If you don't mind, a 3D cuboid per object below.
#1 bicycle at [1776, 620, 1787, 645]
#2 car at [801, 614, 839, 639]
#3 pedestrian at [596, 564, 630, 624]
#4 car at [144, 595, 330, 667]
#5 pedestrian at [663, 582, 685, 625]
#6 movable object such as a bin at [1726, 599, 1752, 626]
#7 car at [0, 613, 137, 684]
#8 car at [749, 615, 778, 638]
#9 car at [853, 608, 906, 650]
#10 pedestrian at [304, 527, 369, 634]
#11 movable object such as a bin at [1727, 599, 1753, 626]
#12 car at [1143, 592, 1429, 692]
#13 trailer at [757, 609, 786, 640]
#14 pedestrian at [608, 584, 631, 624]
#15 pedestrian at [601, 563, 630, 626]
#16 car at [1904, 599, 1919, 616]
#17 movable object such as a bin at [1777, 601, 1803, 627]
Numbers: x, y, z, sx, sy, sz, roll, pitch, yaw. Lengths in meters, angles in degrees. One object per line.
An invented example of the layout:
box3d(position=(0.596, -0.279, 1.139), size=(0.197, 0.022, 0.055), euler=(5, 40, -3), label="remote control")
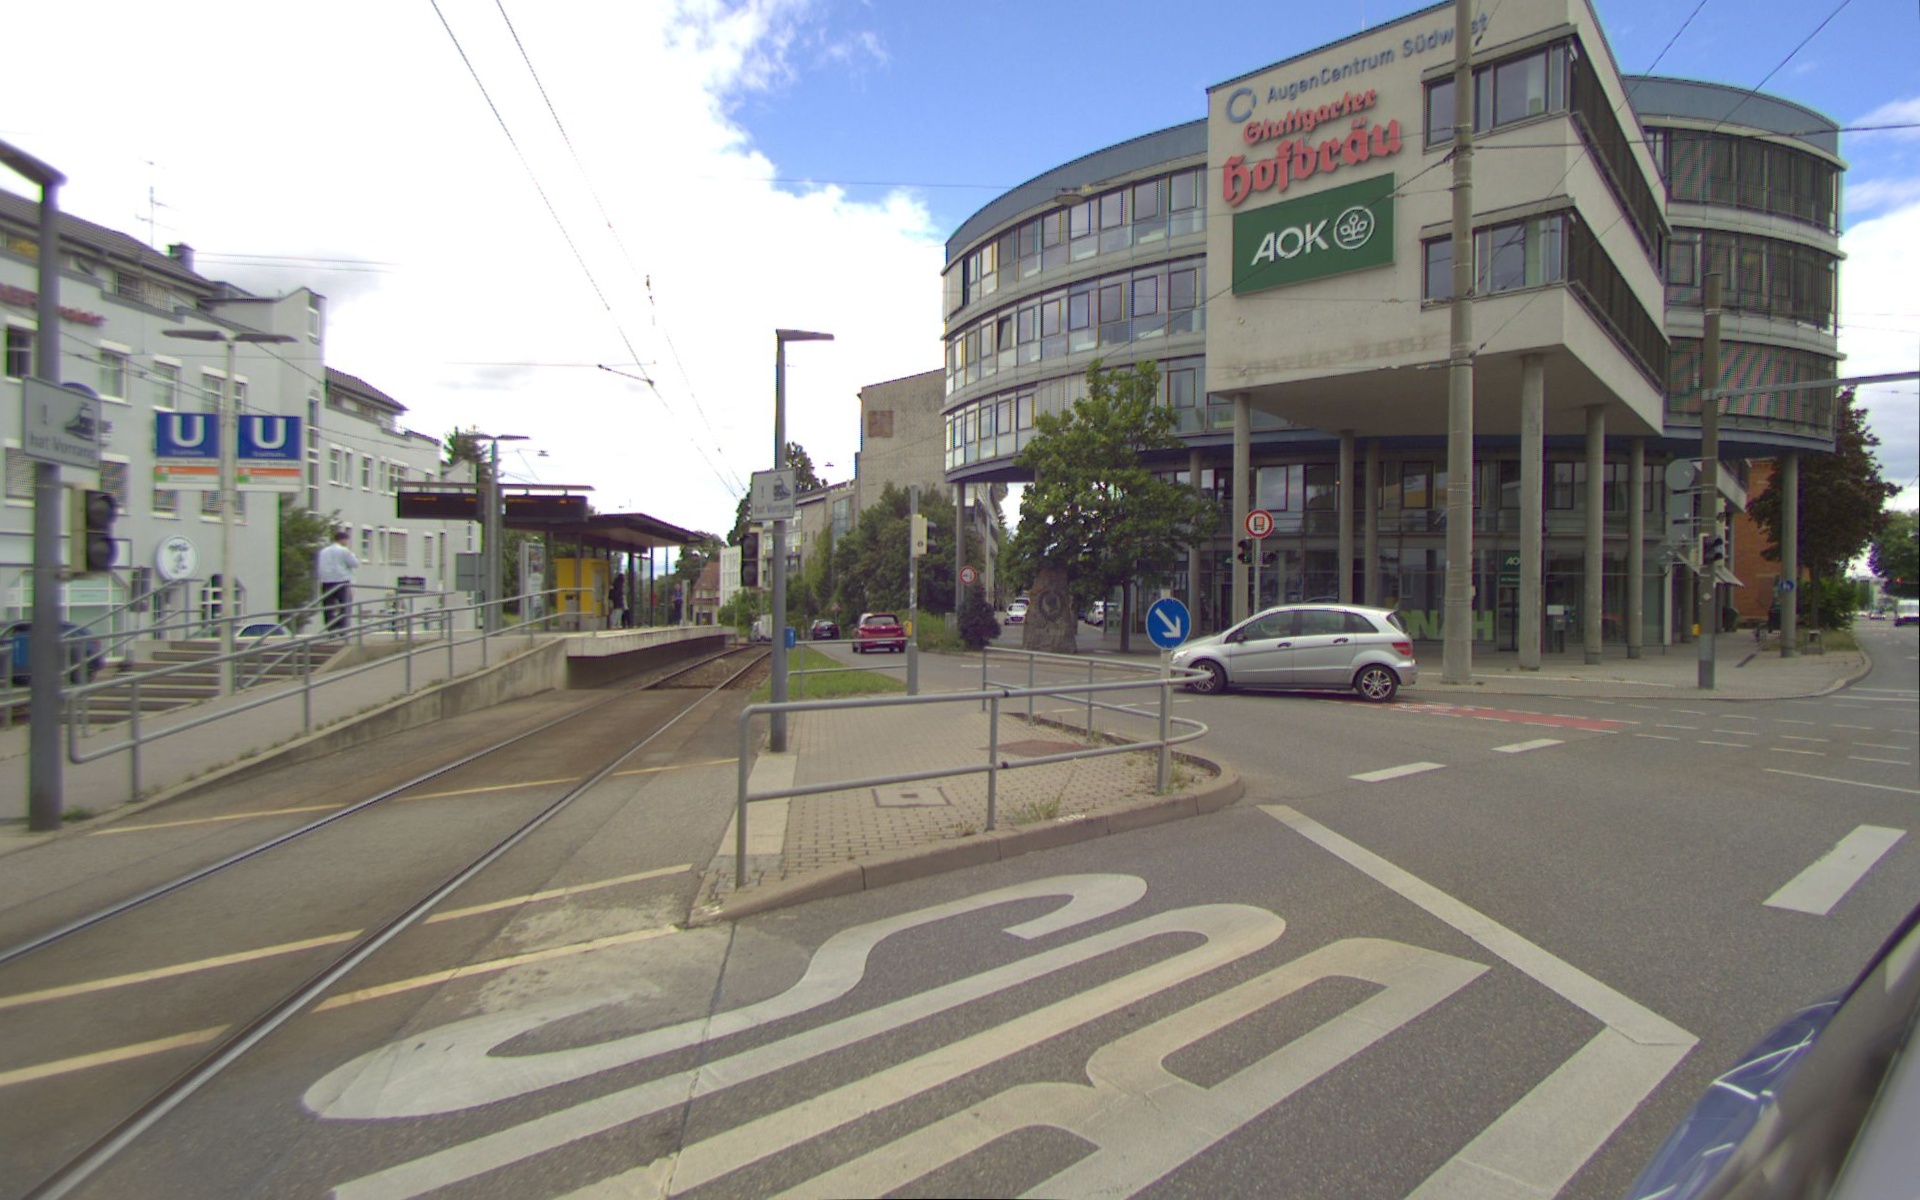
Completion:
box3d(position=(38.583, 1.495, 47.506), size=(0.360, 1.100, 1.998), euler=(-1, 0, 40), label="bicycle")
box3d(position=(-8.820, 1.648, 63.429), size=(1.703, 1.428, 4.009), euler=(1, 0, -17), label="car")
box3d(position=(-10.429, -0.170, 30.387), size=(0.775, 1.797, 0.689), euler=(1, -2, -38), label="pedestrian")
box3d(position=(-21.298, 0.844, 30.094), size=(1.954, 1.943, 4.780), euler=(-1, 0, 3), label="car")
box3d(position=(-11.605, 0.139, 41.075), size=(0.772, 1.740, 0.691), euler=(0, -2, -20), label="pedestrian")
box3d(position=(45.145, 0.726, 58.666), size=(1.097, 1.484, 1.313), euler=(3, 2, 40), label="movable object such as a bin")
box3d(position=(-21.921, 1.112, 23.274), size=(1.954, 1.489, 4.780), euler=(-1, 0, 3), label="car")
box3d(position=(-18.224, 2.426, 93.578), size=(1.844, 1.970, 4.916), euler=(0, 0, -20), label="car")
box3d(position=(-3.090, 1.082, 38.069), size=(1.669, 1.471, 4.005), euler=(0, -1, -9), label="car")
box3d(position=(-10.380, -0.320, 16.869), size=(0.690, 1.740, 0.651), euler=(1, 0, -8), label="pedestrian")
box3d(position=(45.999, 0.718, 59.701), size=(1.121, 1.484, 1.313), euler=(3, 2, 40), label="movable object such as a bin")
box3d(position=(5.682, 0.727, 17.778), size=(4.520, 1.566, 1.984), euler=(-2, -1, 24), label="car")
box3d(position=(-16.639, 2.123, 89.209), size=(1.844, 2.646, 4.331), euler=(0, 0, -20), label="trailer")
box3d(position=(-10.903, 0.136, 32.426), size=(0.558, 1.281, 0.589), euler=(0, -2, -6), label="pedestrian")
box3d(position=(-9.748, -0.146, 28.679), size=(0.675, 1.740, 0.790), euler=(0, -2, -11), label="pedestrian")
box3d(position=(90.938, 0.737, 95.880), size=(1.957, 1.545, 4.506), euler=(1, 1, 40), label="car")
box3d(position=(48.686, 0.801, 59.347), size=(1.126, 1.484, 1.392), euler=(3, 2, 40), label="movable object such as a bin")
